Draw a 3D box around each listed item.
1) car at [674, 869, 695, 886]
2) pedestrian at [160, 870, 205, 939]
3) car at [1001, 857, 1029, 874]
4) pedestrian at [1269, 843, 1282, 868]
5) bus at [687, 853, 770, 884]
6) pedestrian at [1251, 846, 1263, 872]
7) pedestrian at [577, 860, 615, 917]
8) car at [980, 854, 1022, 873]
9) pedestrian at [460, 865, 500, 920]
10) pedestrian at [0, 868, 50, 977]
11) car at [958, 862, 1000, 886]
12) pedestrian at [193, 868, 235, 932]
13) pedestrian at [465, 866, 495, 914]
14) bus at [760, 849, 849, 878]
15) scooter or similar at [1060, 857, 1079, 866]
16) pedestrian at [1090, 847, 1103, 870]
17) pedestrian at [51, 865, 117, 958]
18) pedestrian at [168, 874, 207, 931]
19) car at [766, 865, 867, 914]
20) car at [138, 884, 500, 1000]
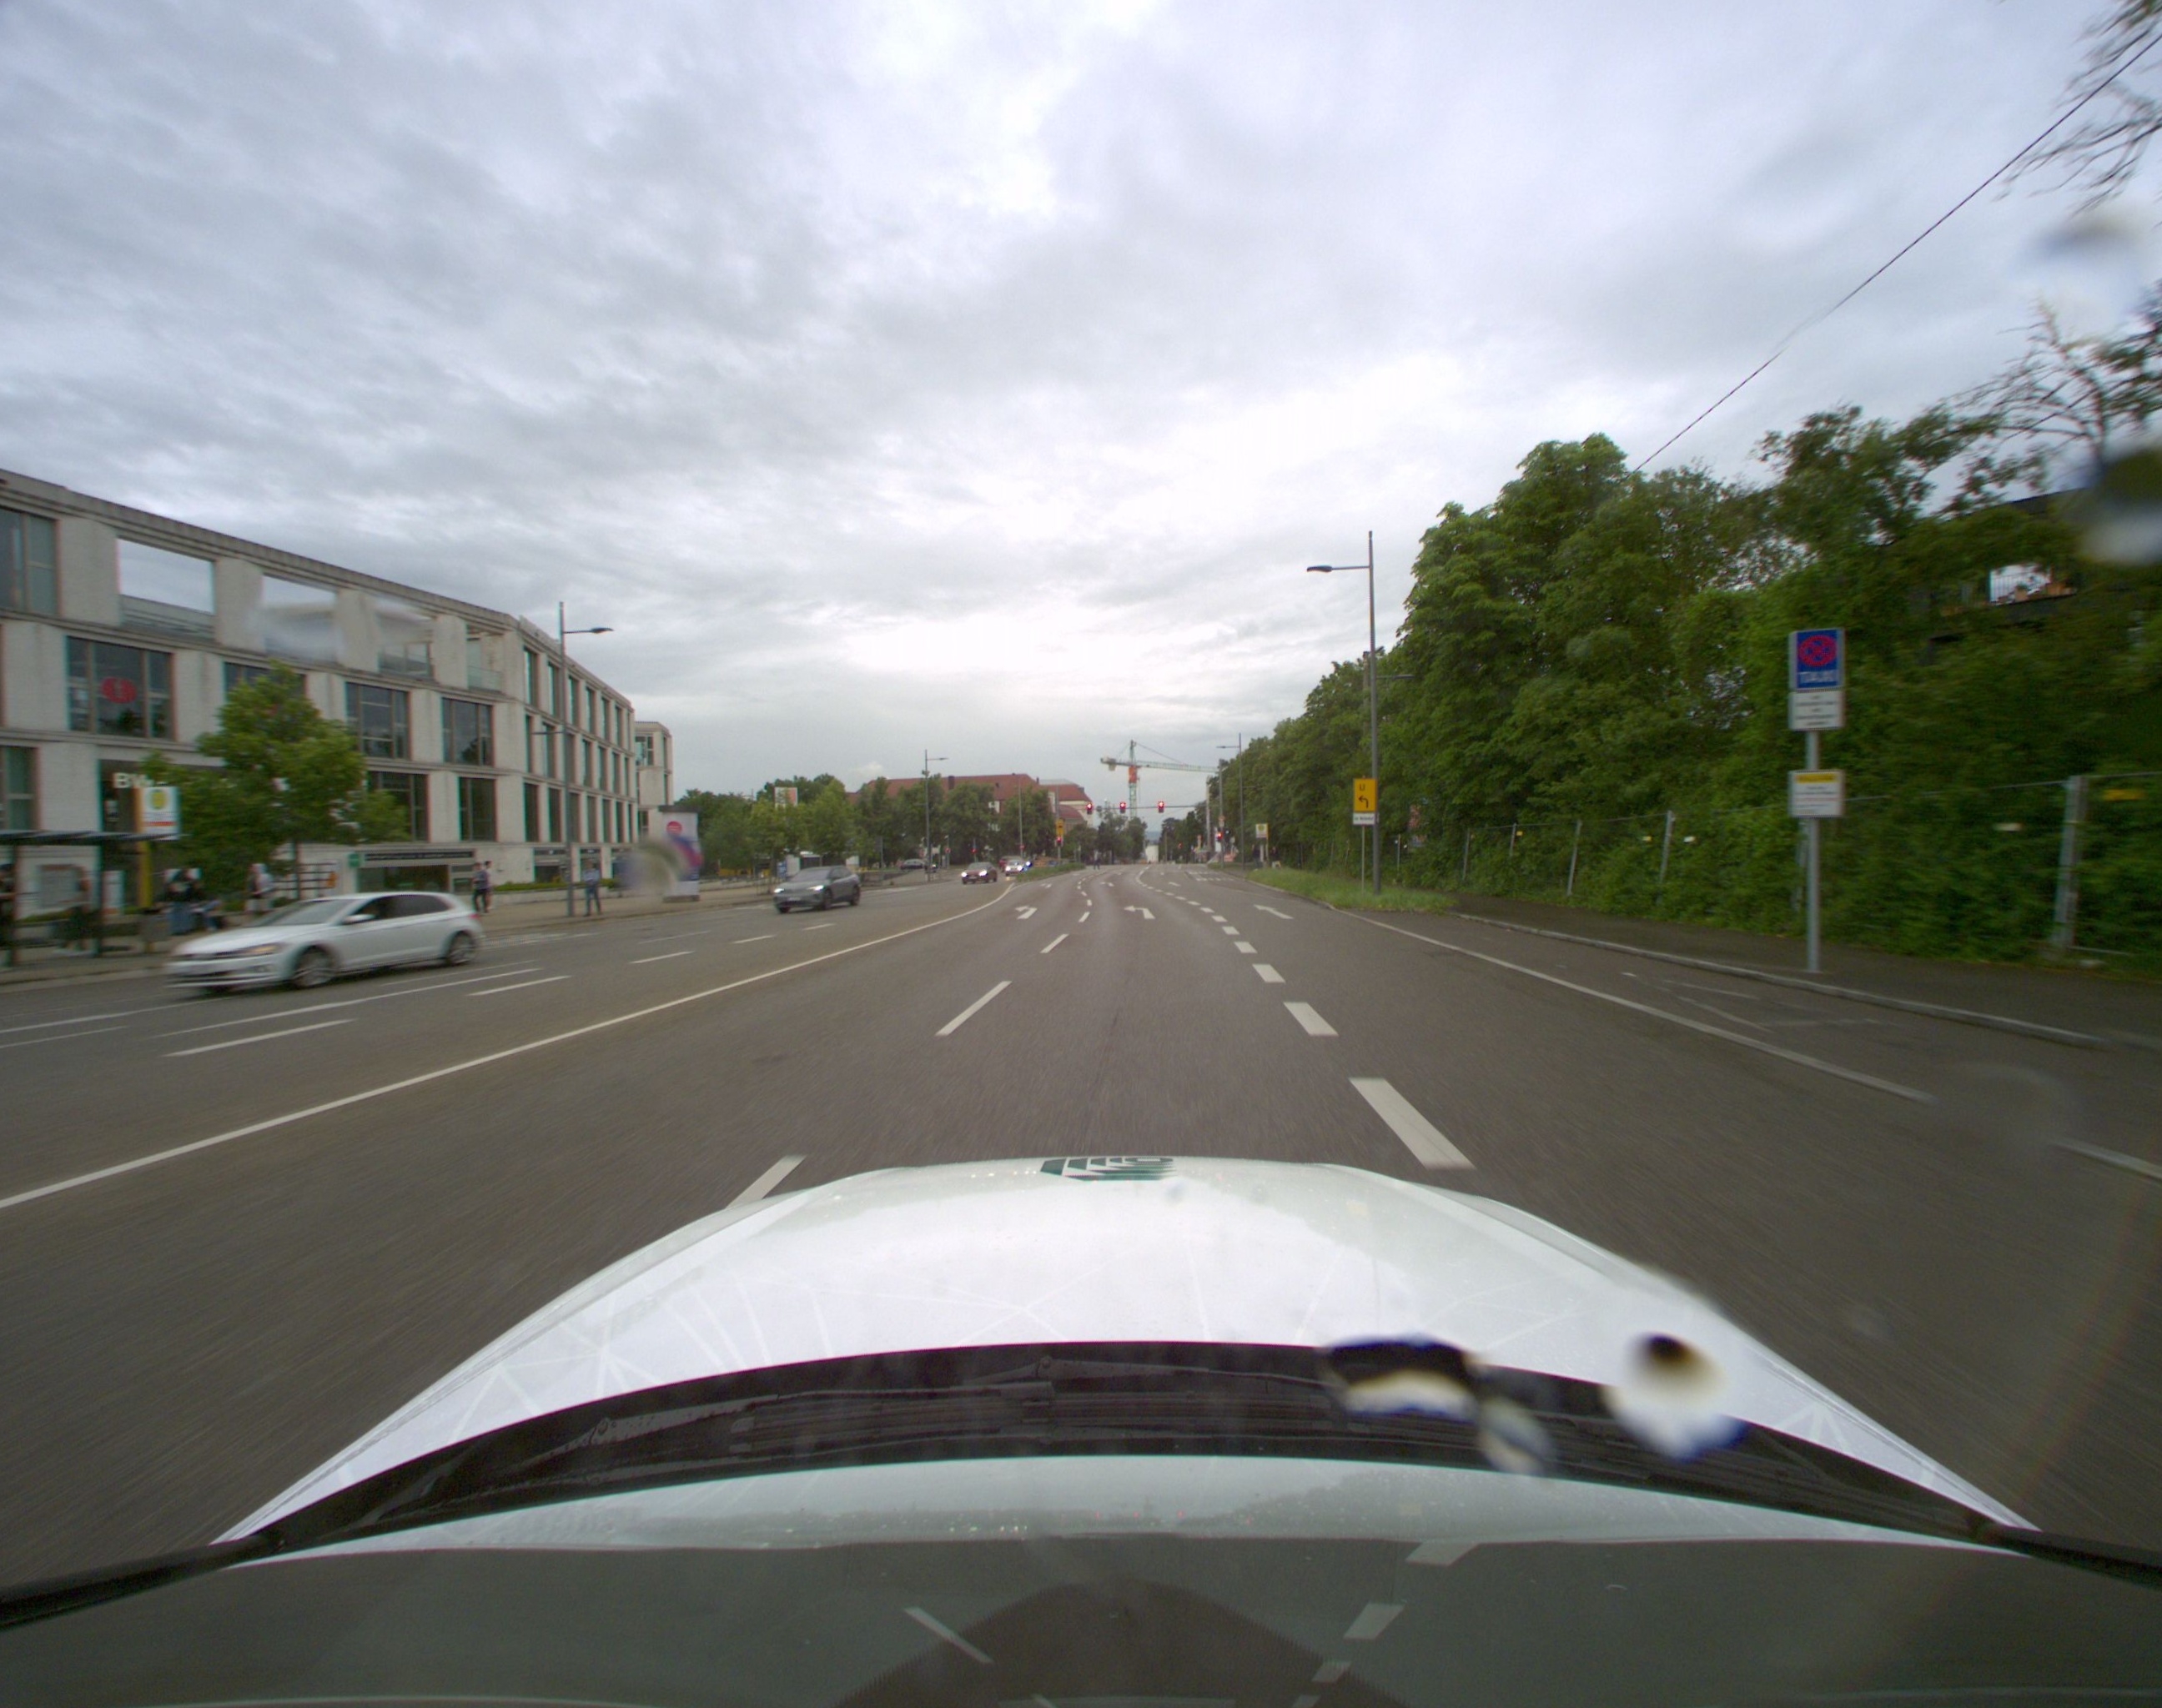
[{"bbox_3d":[-42.484,2.486,87.311,1.781,1.731,3.970,-2,0,-22],"label":"car"},{"bbox_3d":[-23.022,1.284,20.874,0.521,1.725,0.567,-1,-1,8],"label":"pedestrian"},{"bbox_3d":[-6.061,1.028,75.222,1.754,1.416,3.885,-4,0,6],"label":"car"},{"bbox_3d":[13.100,0.123,54.871,0.673,1.658,0.793,-2,0,0],"label":"pedestrian"},{"bbox_3d":[-42.314,1.716,97.879,8.514,3.307,2.899,-2,0,2],"label":"bus"},{"bbox_3d":[12.855,0.360,59.412,0.638,1.901,0.718,-2,0,0],"label":"pedestrian"},{"bbox_3d":[-16.080,1.137,27.012,0.749,1.842,0.748,-1,-1,8],"label":"pedestrian"},{"bbox_3d":[-8.665,1.044,88.195,3.949,1.917,2.012,-2,-1,28],"label":"car"},{"bbox_3d":[-19.890,1.264,26.952,0.595,1.762,0.859,-1,0,8],"label":"pedestrian"},{"bbox_3d":[-18.642,1.178,14.134,0.505,1.842,0.756,-1,-1,5],"label":"pedestrian"},{"bbox_3d":[-7.048,1.366,56.776,1.823,1.416,4.473,-4,0,6],"label":"car"},{"bbox_3d":[-23.619,1.242,22.186,0.424,1.725,0.622,-1,-1,6],"label":"pedestrian"},{"bbox_3d":[-21.891,1.296,29.665,0.497,1.690,0.912,-1,0,-11],"label":"pedestrian"},{"bbox_3d":[-33.041,1.167,97.573,9.674,3.103,2.903,-2,0,6],"label":"bus"},{"bbox_3d":[-1.847,1.220,133.625,3.074,1.440,0.950,-2,0,3],"label":"scooter or similar"},{"bbox_3d":[1.382,0.417,73.050,0.934,2.013,0.850,-4,-1,11],"label":"pedestrian"},{"bbox_3d":[-20.412,1.157,16.677,0.578,1.856,0.607,-1,-1,3],"label":"pedestrian"},{"bbox_3d":[-23.534,1.273,21.455,0.424,1.451,0.511,-1,-1,6],"label":"pedestrian"},{"bbox_3d":[-9.890,1.272,30.880,1.823,1.572,4.600,-4,-1,6],"label":"car"},{"bbox_3d":[-12.382,1.335,13.704,1.864,1.430,4.182,-4,-1,6],"label":"car"}]
